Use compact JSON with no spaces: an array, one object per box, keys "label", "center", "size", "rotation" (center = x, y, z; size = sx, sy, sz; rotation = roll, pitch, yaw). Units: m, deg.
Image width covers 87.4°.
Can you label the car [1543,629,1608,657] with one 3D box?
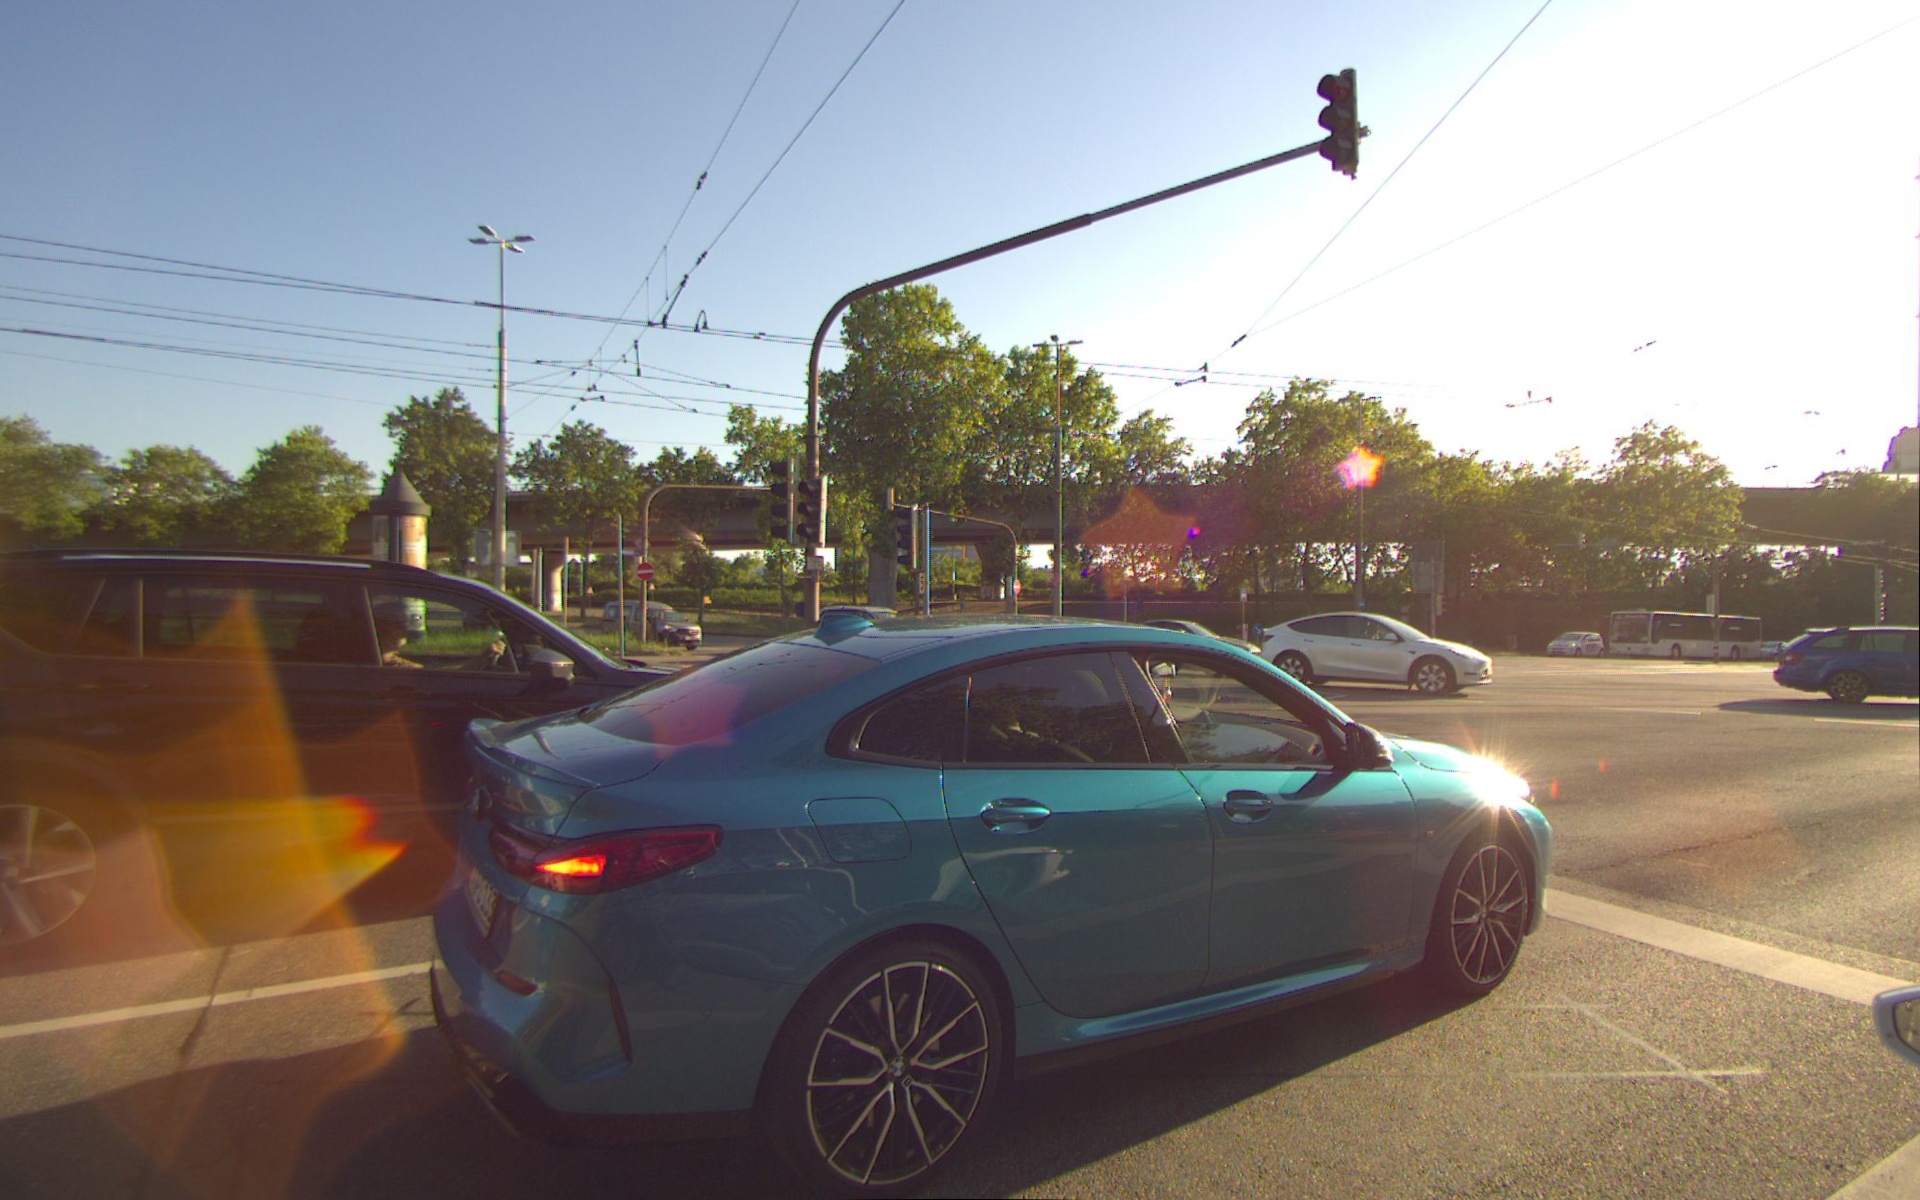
[{"label":"car","center":[35.156,2.442,57.340],"size":[3.964,1.532,1.598],"rotation":[2,0,-32]}]

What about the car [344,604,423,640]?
[{"label":"car","center":[-27.114,1.019,47.219],"size":[3.870,1.546,1.718],"rotation":[1,0,35]}]

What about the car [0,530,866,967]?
[{"label":"car","center":[-2.959,0.615,5.411],"size":[4.568,1.702,1.805],"rotation":[1,-1,-30]}]

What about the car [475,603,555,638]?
[{"label":"car","center":[-21.557,0.984,48.617],"size":[4.341,1.546,1.618],"rotation":[1,0,36]}]

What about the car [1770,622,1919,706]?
[{"label":"car","center":[18.194,1.211,18.908],"size":[4.556,1.478,1.686],"rotation":[0,-1,40]}]

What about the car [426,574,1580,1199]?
[{"label":"car","center":[0.419,0.744,3.789],"size":[4.162,1.485,1.704],"rotation":[1,-1,-33]}]

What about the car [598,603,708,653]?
[{"label":"car","center":[-11.426,1.001,37.283],"size":[4.344,1.701,1.687],"rotation":[1,0,37]}]

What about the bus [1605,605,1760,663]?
[{"label":"bus","center":[45.556,2.223,63.097],"size":[12.756,3.171,2.534],"rotation":[3,-2,-28]}]

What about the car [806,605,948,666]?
[{"label":"car","center":[-2.564,1.017,30.358],"size":[4.219,1.653,1.687],"rotation":[1,0,37]}]

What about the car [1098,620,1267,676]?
[{"label":"car","center":[6.309,1.317,28.771],"size":[4.421,1.387,1.687],"rotation":[1,-1,38]}]

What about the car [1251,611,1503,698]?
[{"label":"car","center":[8.812,1.076,21.472],"size":[4.695,1.595,1.686],"rotation":[1,-1,40]}]
